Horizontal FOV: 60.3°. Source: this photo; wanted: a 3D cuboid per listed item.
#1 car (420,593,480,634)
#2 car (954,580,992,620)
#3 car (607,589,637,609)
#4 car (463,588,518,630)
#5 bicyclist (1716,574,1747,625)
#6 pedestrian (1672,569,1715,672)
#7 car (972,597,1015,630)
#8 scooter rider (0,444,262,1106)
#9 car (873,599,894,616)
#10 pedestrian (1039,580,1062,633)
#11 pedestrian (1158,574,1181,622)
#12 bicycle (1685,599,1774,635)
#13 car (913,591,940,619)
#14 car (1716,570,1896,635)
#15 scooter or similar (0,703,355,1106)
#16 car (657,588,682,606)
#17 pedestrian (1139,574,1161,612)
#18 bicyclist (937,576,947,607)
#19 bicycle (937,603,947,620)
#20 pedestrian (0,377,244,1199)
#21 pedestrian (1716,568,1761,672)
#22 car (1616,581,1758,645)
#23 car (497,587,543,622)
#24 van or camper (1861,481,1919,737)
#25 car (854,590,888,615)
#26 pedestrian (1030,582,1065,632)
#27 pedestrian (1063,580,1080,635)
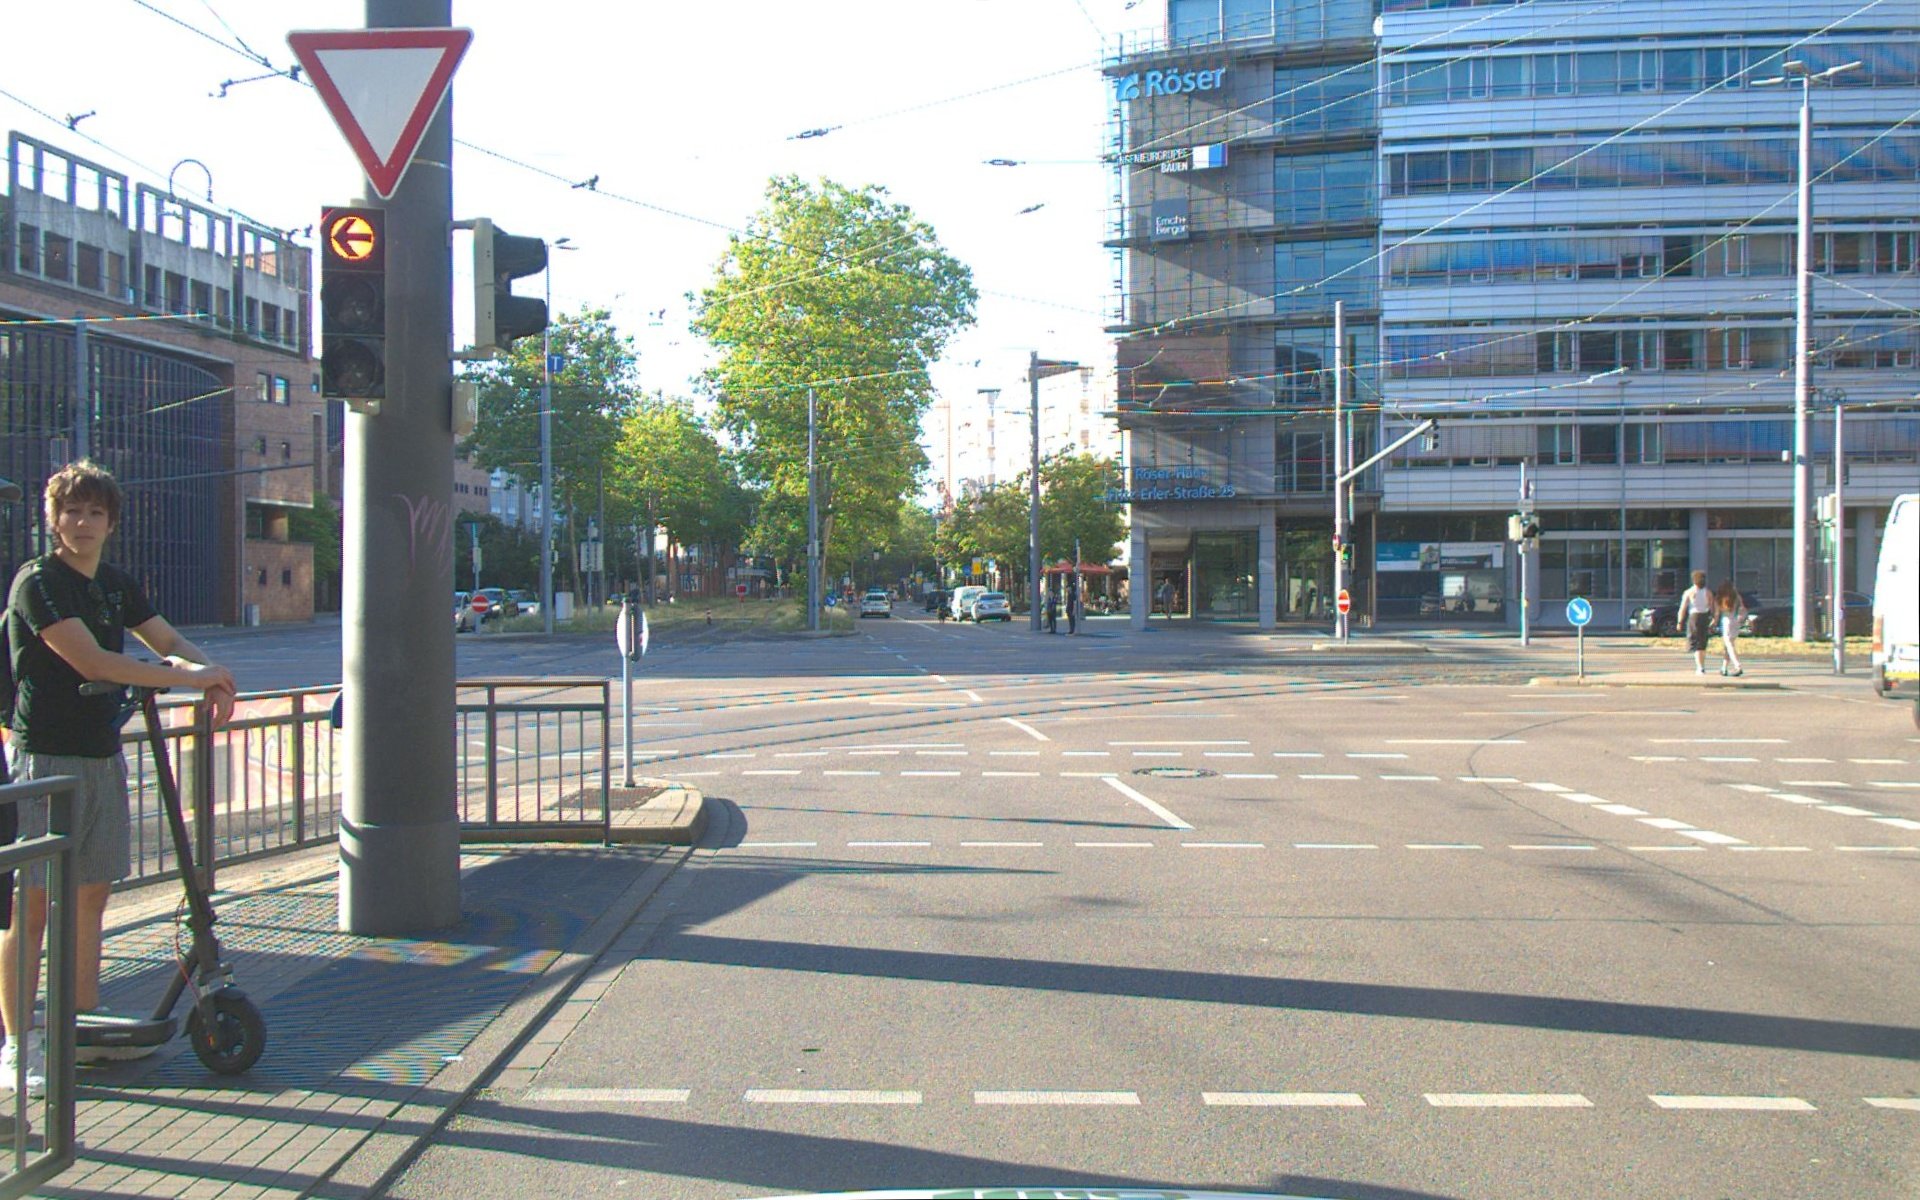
[{"bbox_3d":[-20.607,0.523,66.953,1.591,1.604,3.994,-1,0,-7],"label":"car"},{"bbox_3d":[0.696,0.000,89.649,1.953,2.049,3.999,1,0,-1],"label":"car"},{"bbox_3d":[-30.428,-0.099,149.000,1.871,1.814,3.999,-1,0,-1],"label":"car"},{"bbox_3d":[-21.123,0.406,74.542,1.787,1.821,3.994,-1,0,-7],"label":"car"},{"bbox_3d":[23.241,-0.010,49.809,0.649,1.529,0.613,-1,0,4],"label":"bicyclist"},{"bbox_3d":[12.957,0.357,29.217,0.664,1.789,0.741,-1,0,24],"label":"pedestrian"},{"bbox_3d":[1.633,0.666,82.897,1.988,1.624,3.999,1,0,-1],"label":"car"},{"bbox_3d":[-2.582,0.505,5.080,0.554,1.885,0.680,-1,-2,4],"label":"scooter rider"},{"bbox_3d":[-6.780,0.661,145.782,1.729,1.429,4.292,0,0,-5],"label":"car"},{"bbox_3d":[3.513,0.259,64.306,0.832,2.049,0.707,1,-1,-2],"label":"pedestrian"},{"bbox_3d":[9.158,-0.084,72.312,0.852,2.049,0.793,1,-2,-1],"label":"pedestrian"},{"bbox_3d":[23.164,0.498,49.831,2.359,1.040,0.637,-1,0,4],"label":"bicycle"},{"bbox_3d":[-2.558,0.381,126.670,1.953,2.049,3.999,1,0,-1],"label":"car"},{"bbox_3d":[24.097,0.068,47.219,4.165,1.753,1.885,-1,0,2],"label":"car"},{"bbox_3d":[-2.572,0.894,5.057,1.177,1.100,0.648,-1,0,3],"label":"scooter or similar"},{"bbox_3d":[-29.318,-0.333,166.878,1.807,1.814,3.999,-1,0,-1],"label":"car"},{"bbox_3d":[11.472,-0.426,100.046,1.285,2.228,1.171,1,0,5],"label":"pedestrian"},{"bbox_3d":[-0.842,-0.405,77.549,0.477,1.464,0.615,1,0,-1],"label":"bicyclist"},{"bbox_3d":[-0.851,0.525,77.620,0.481,0.802,1.861,1,0,-1],"label":"bicycle"},{"bbox_3d":[-2.630,0.452,4.265,1.143,1.917,0.855,-1,0,4],"label":"pedestrian"},{"bbox_3d":[13.639,0.339,28.991,0.669,1.789,0.741,-1,0,24],"label":"pedestrian"},{"bbox_3d":[24.406,0.449,55.611,3.906,2.049,2.000,1,0,-1],"label":"car"},{"bbox_3d":[-21.865,0.230,82.326,1.644,1.635,3.994,1,0,-7],"label":"car"},{"bbox_3d":[12.629,0.056,19.147,6.446,2.660,1.974,-1,0,-43],"label":"van or camper"},{"bbox_3d":[-5.269,0.128,98.724,1.712,1.443,4.001,0,0,1],"label":"car"},{"bbox_3d":[3.484,0.285,65.855,1.315,1.984,1.011,0,0,-1],"label":"pedestrian"},{"bbox_3d":[4.240,0.283,62.843,0.574,2.049,0.620,1,-1,0],"label":"pedestrian"}]
